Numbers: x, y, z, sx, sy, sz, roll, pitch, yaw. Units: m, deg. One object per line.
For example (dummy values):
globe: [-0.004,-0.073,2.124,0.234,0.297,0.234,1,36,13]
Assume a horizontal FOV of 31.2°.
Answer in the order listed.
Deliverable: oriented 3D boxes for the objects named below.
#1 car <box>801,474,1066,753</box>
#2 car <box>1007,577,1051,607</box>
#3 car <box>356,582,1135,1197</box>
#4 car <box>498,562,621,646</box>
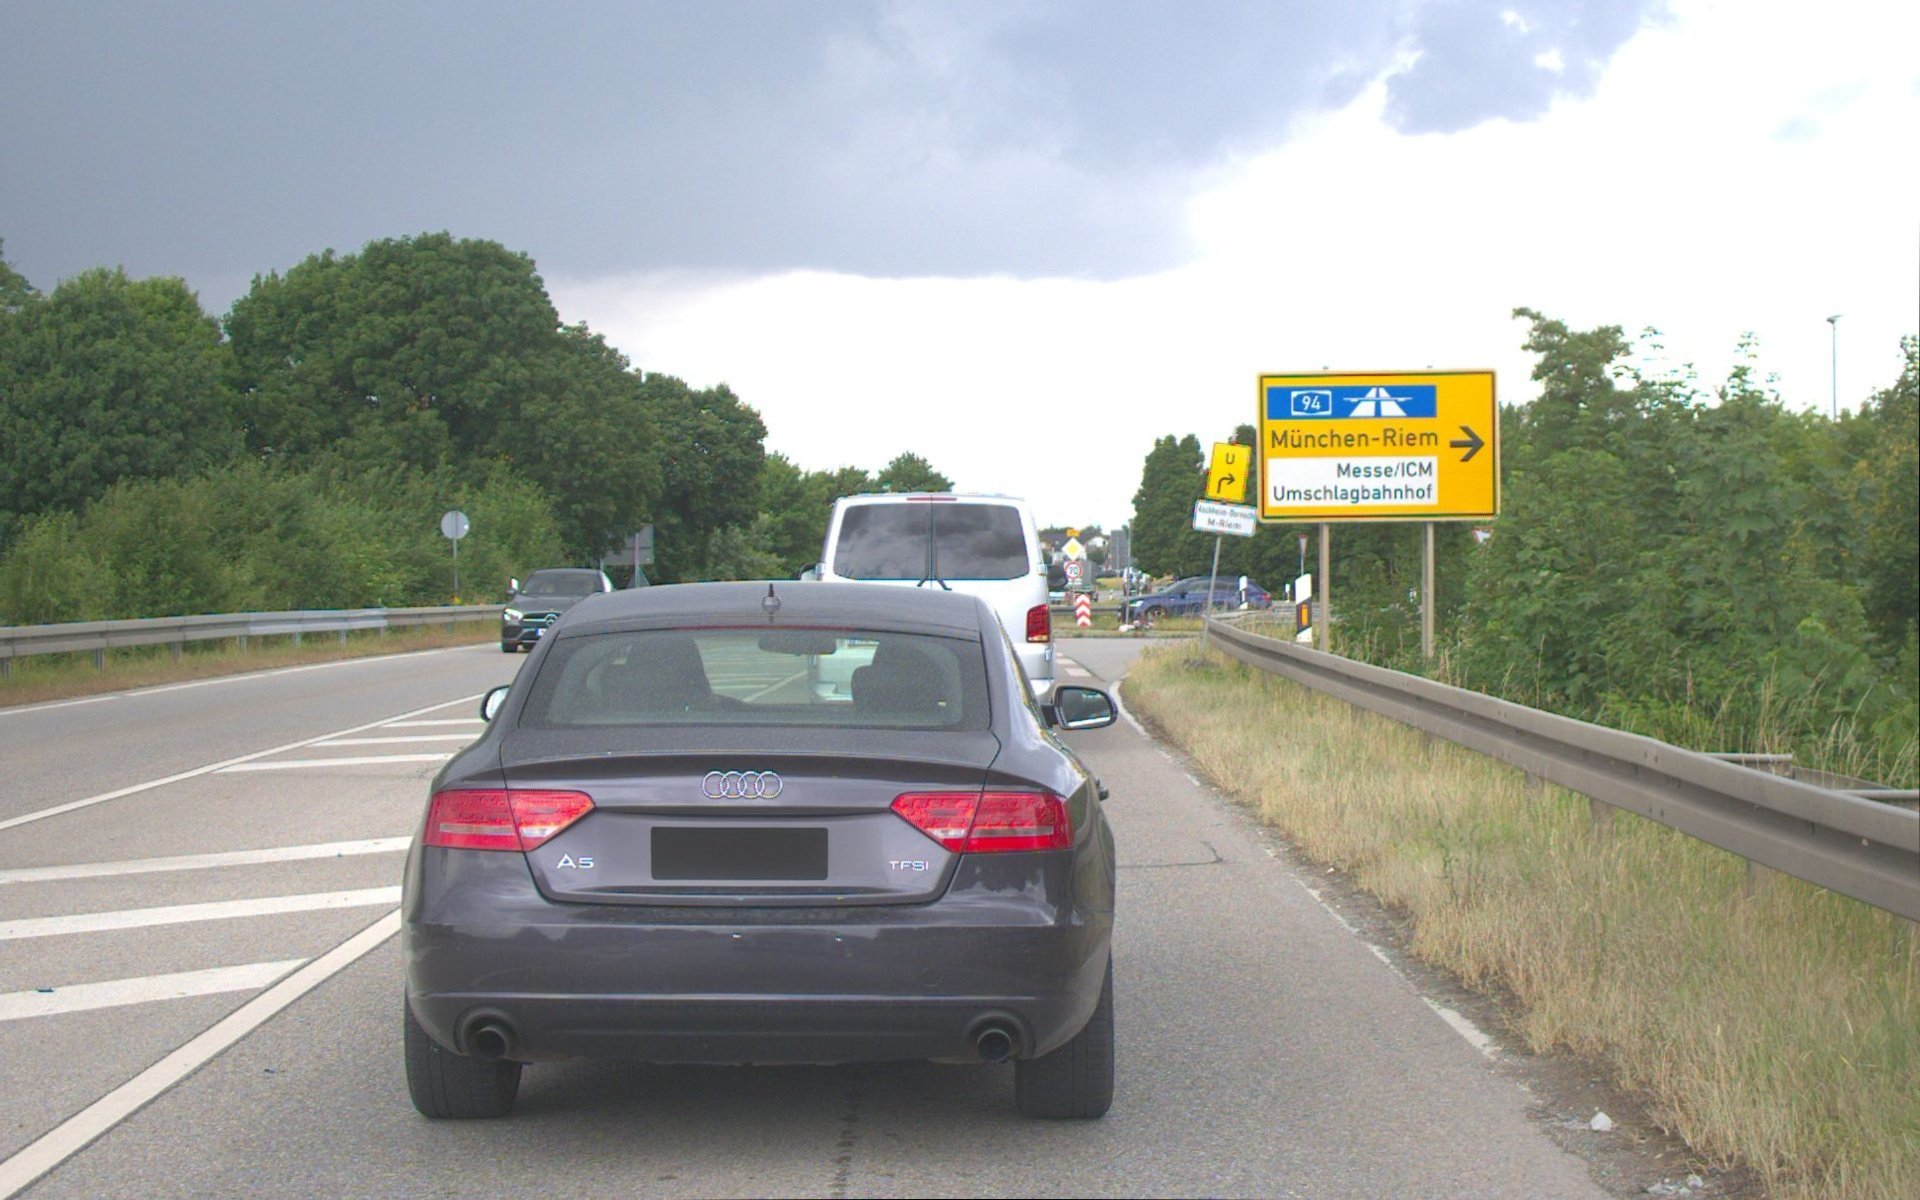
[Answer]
car: [-0.206,0.070,27.125,1.910,2.007,4.000,1,1,0]
car: [3.718,-0.447,185.661,2.205,1.577,4.379,1,1,0]
car: [-0.511,0.658,9.556,1.779,1.394,3.336,0,0,-1]
car: [-6.865,0.038,59.317,1.622,1.375,4.512,0,1,0]
